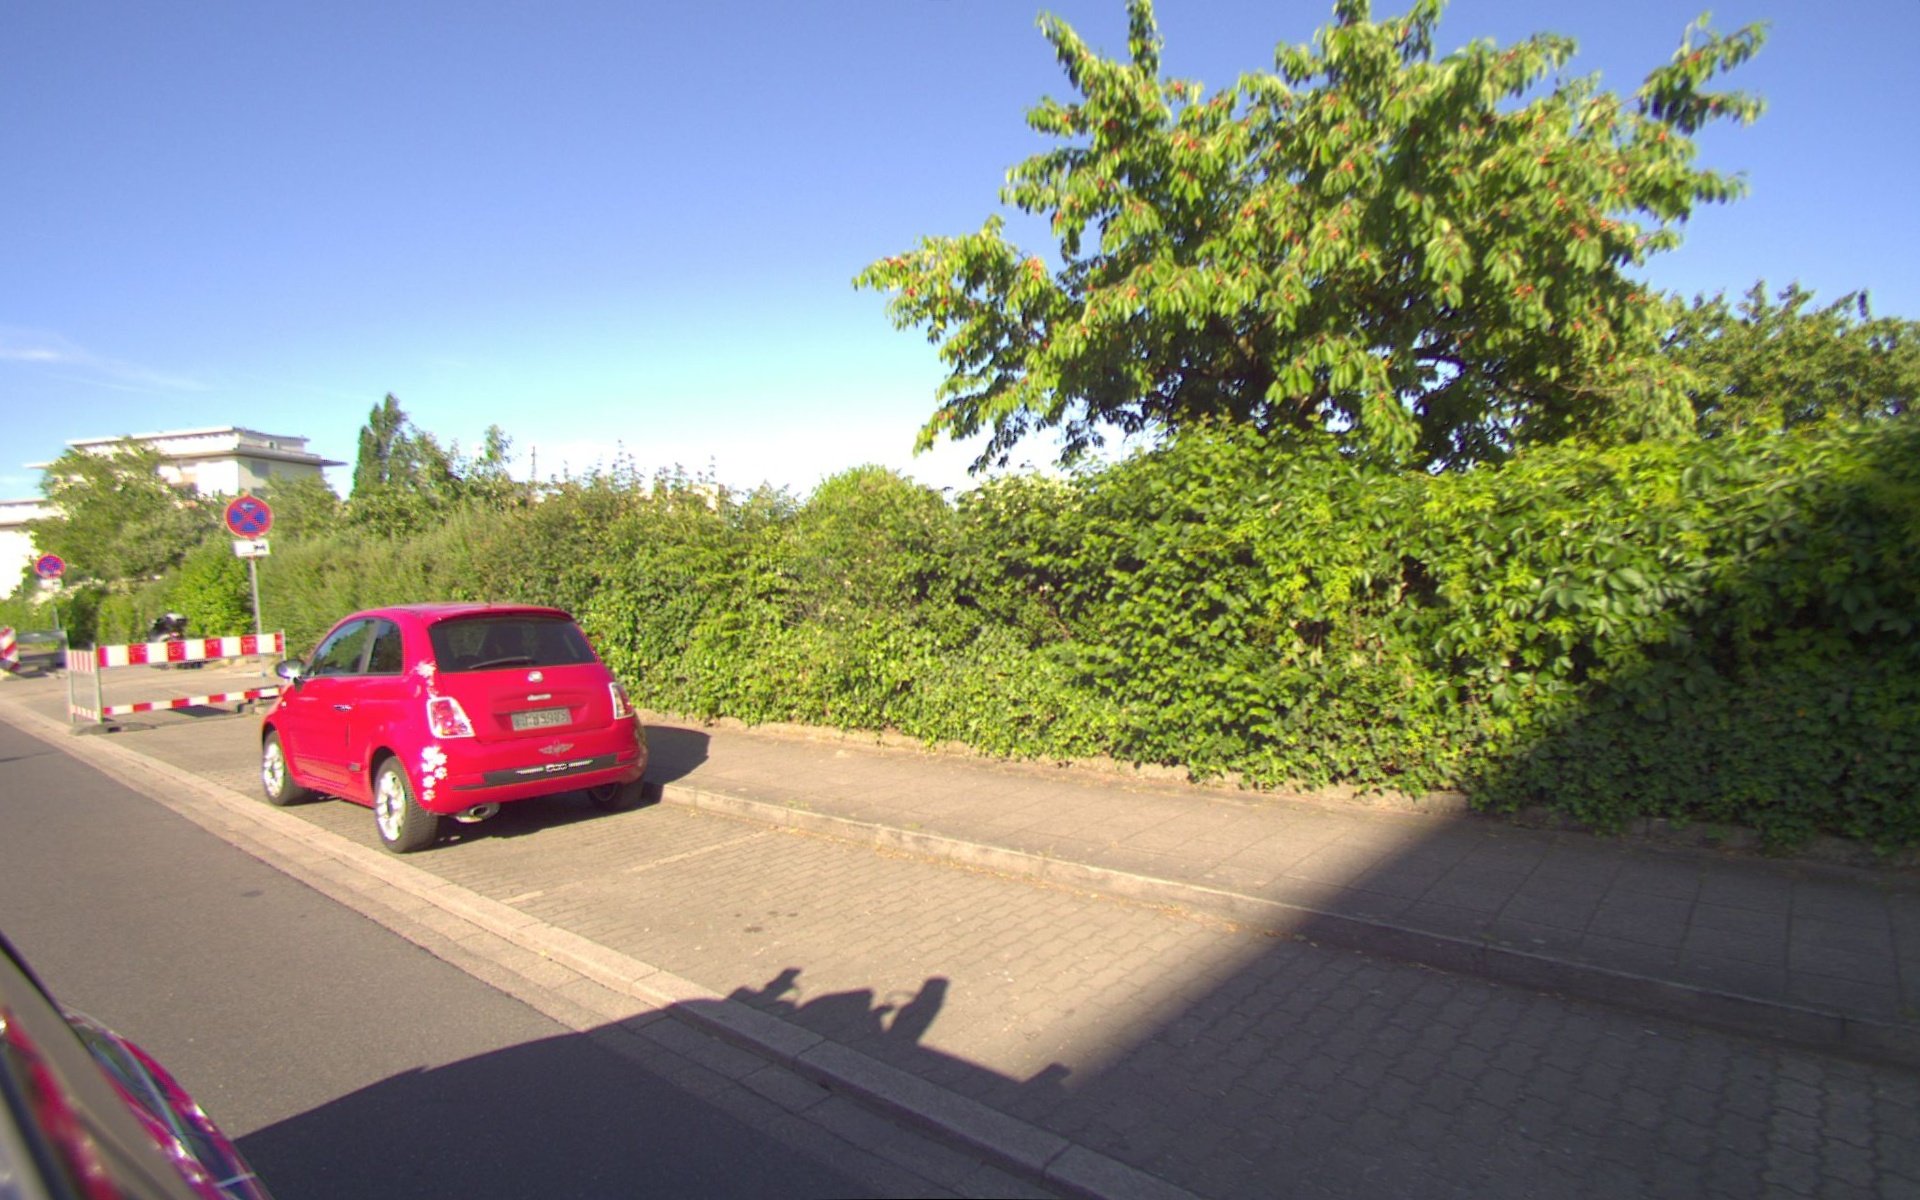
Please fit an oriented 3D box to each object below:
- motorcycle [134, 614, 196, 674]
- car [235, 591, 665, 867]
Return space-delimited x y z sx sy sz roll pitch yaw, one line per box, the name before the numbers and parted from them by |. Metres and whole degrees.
motorcycle | -18.173 0.976 23.117 2.088 1.277 0.561 -1 2 38
car | -3.819 0.730 7.327 3.569 1.506 1.543 -1 0 41
